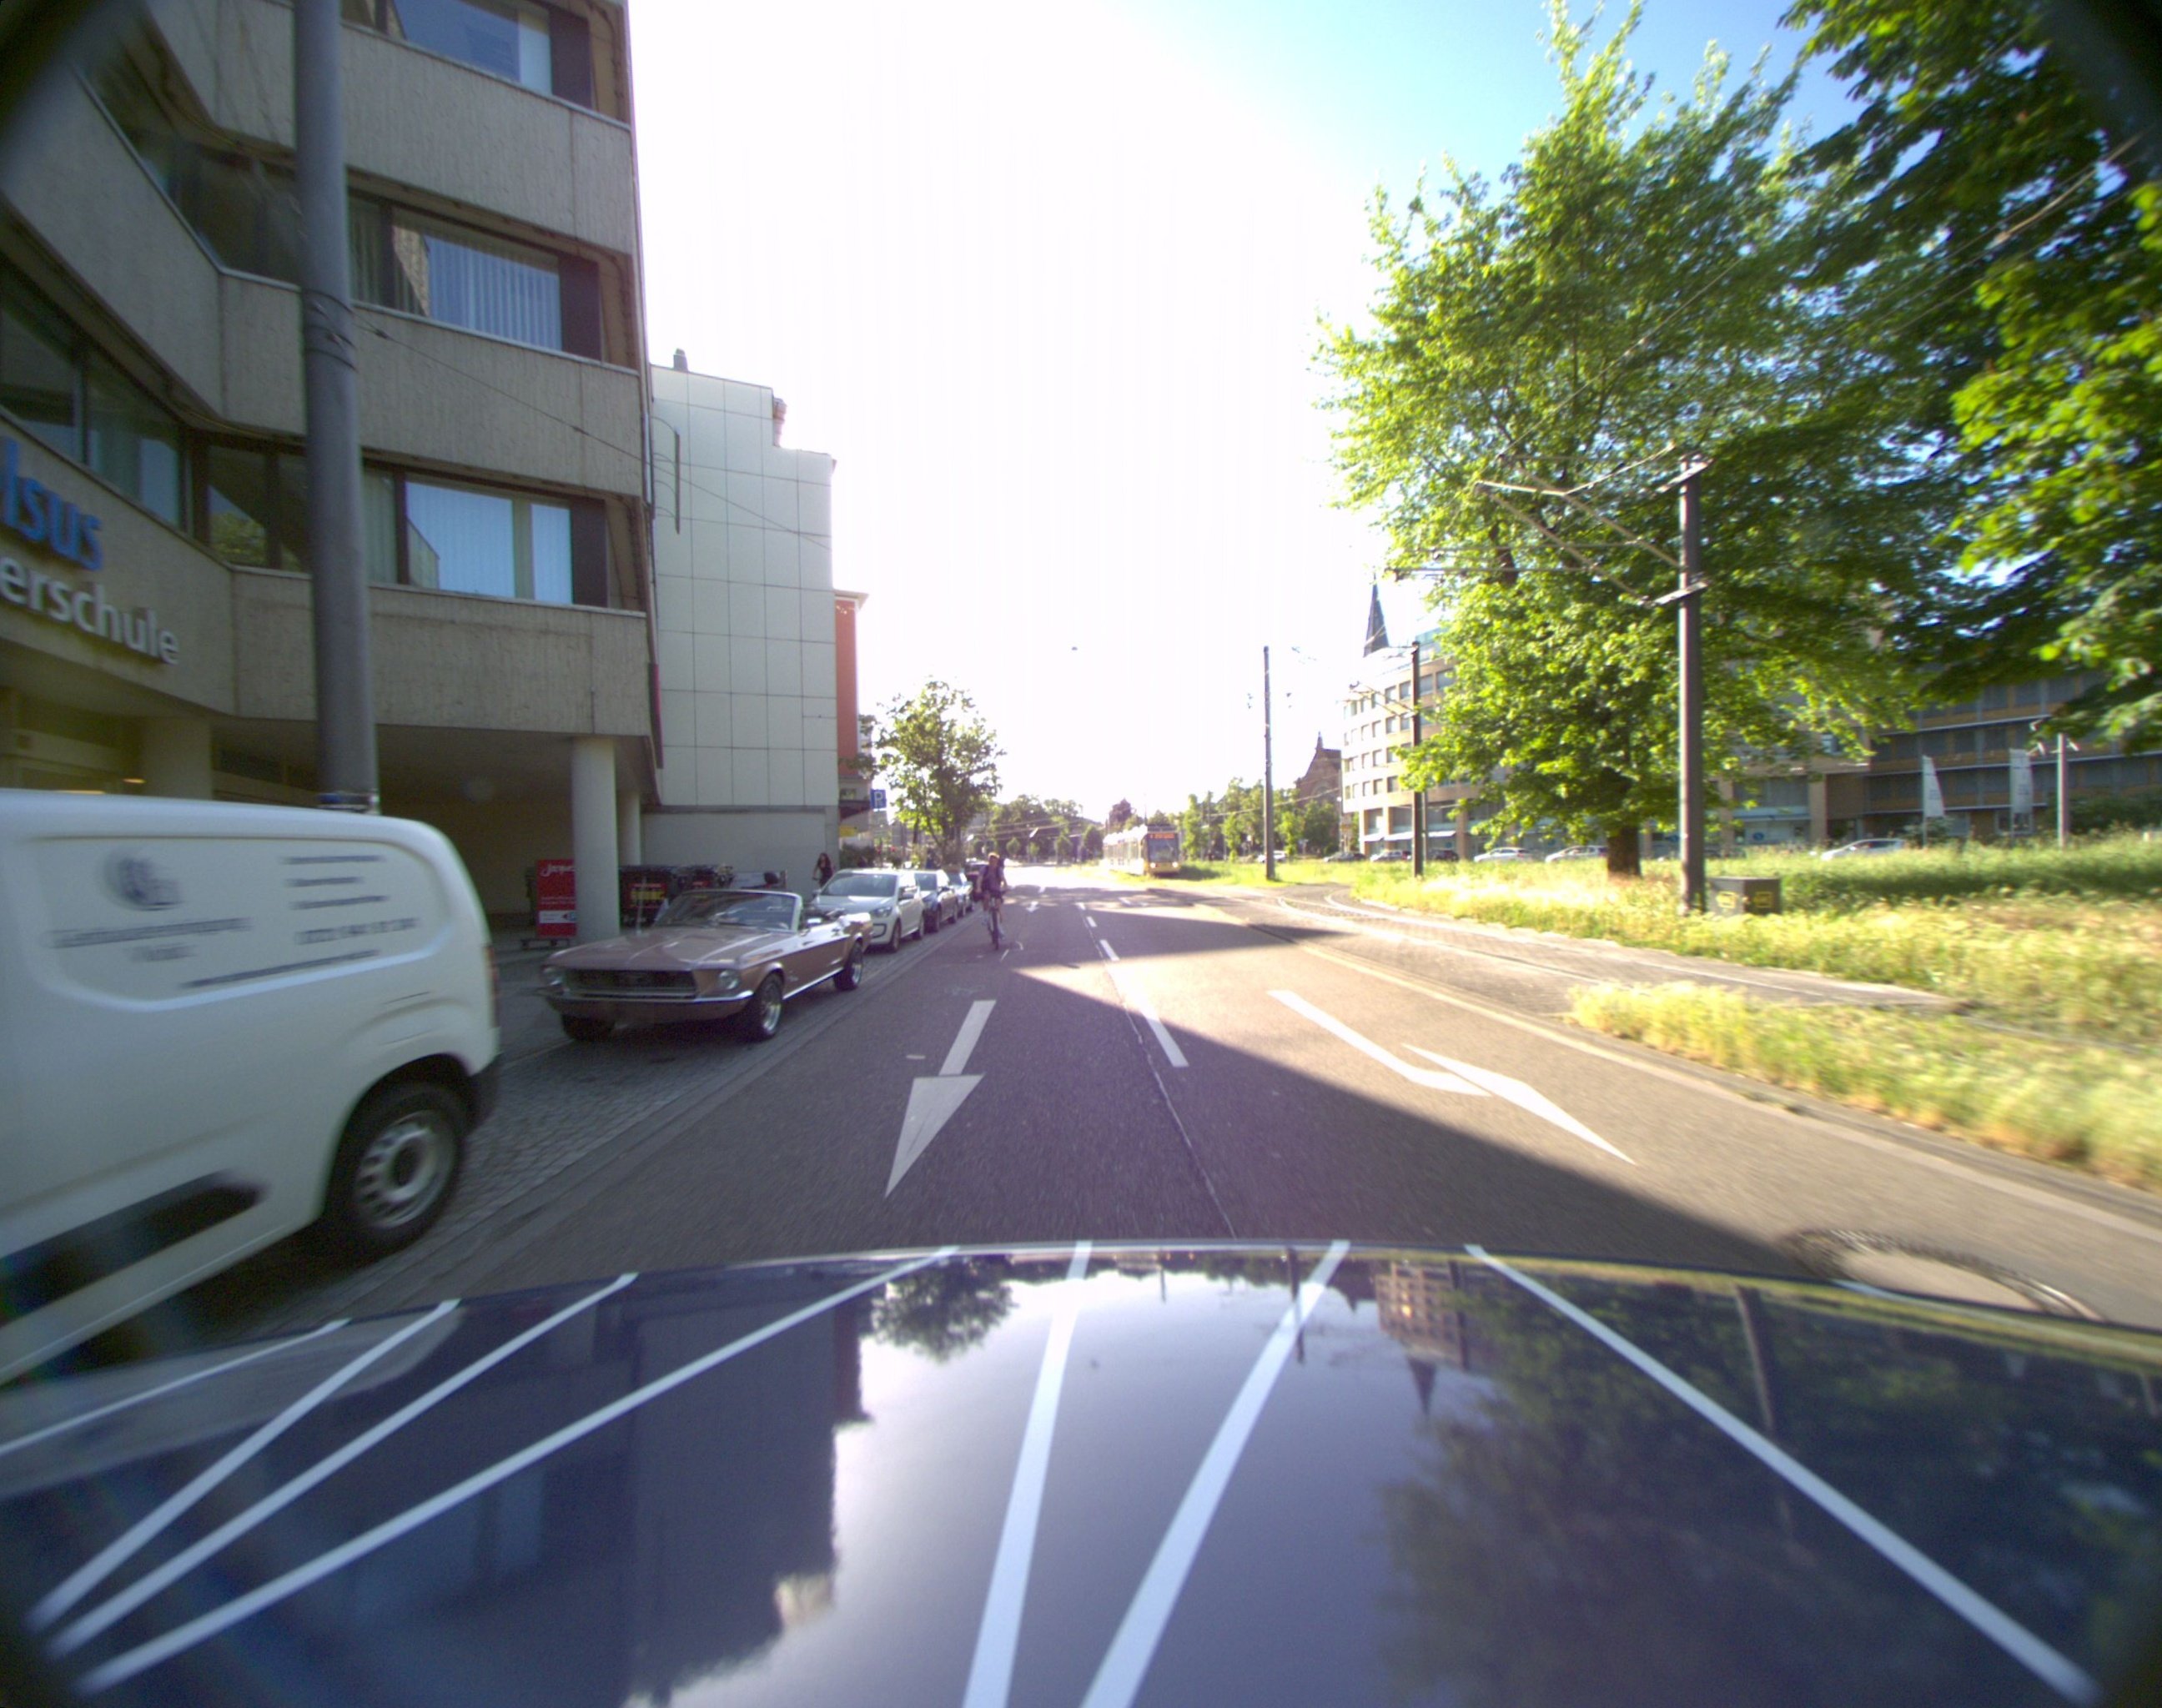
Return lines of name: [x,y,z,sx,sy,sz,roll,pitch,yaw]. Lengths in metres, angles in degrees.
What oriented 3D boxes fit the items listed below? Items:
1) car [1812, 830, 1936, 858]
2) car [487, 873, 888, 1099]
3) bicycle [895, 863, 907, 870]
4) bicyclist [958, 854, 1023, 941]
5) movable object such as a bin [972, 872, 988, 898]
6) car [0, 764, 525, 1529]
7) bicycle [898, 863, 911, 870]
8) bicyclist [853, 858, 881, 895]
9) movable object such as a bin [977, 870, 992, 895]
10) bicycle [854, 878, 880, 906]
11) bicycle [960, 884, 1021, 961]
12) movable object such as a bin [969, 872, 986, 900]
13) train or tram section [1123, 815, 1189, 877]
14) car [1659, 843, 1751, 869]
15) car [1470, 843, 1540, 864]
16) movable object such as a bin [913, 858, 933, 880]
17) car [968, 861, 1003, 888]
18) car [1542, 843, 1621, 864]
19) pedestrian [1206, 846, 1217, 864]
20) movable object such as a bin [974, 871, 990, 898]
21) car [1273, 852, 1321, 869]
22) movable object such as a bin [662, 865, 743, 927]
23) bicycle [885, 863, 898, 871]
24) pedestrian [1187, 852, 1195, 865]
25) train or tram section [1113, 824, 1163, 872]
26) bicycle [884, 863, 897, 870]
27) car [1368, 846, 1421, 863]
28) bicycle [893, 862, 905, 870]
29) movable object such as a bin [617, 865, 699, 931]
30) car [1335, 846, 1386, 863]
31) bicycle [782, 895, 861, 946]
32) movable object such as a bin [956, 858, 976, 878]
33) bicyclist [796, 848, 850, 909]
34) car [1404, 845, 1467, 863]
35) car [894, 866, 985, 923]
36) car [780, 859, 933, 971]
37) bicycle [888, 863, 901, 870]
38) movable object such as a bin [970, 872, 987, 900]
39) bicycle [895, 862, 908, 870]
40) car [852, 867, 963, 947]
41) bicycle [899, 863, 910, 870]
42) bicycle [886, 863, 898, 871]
car: [46.353,-0.567,44.494,2.003,1.346,4.756,-3,0,-36]
car: [-3.633,1.084,8.229,1.779,1.445,4.729,-3,1,0]
bicycle: [-26.023,1.830,109.840,1.550,0.960,0.386,-4,2,-26]
bicyclist: [-1.653,0.780,14.092,1.040,1.475,0.988,-3,2,-2]
movable object such as a bin: [-4.218,1.294,31.781,0.606,1.063,0.545,-3,2,-5]
car: [-3.560,0.741,1.334,1.999,1.802,4.307,-3,1,-2]
bicycle: [-25.243,1.792,108.474,1.707,1.005,0.410,0,0,-29]
bicyclist: [-8.035,0.830,28.549,0.760,1.319,0.993,-3,2,-6]
movable object such as a bin: [-4.358,1.290,34.306,0.575,1.076,0.570,-3,2,-5]
bicycle: [-8.030,1.414,28.622,0.536,0.886,2.068,-3,1,-5]
bicycle: [-1.619,1.204,13.985,0.888,1.129,2.228,-3,1,-2]
movable object such as a bin: [-4.170,1.287,30.620,0.594,1.077,0.604,-3,2,-5]
train or tram section: [4.925,-0.491,52.713,2.957,3.663,13.182,-2,0,-1]
car: [41.352,0.107,50.474,2.003,1.505,4.270,-3,4,-31]
car: [34.912,-0.011,62.654,2.002,1.587,4.646,-4,2,-28]
movable object such as a bin: [-12.346,1.162,59.307,1.261,1.699,0.943,-2,1,-27]
car: [-5.481,1.145,44.228,1.770,1.430,4.581,-1,0,-4]
car: [37.626,-0.028,57.203,2.003,1.419,4.500,-4,2,-31]
pedestrian: [12.322,0.131,71.926,0.736,1.661,0.743,-2,1,-18]
movable object such as a bin: [-4.216,1.296,32.463,0.608,1.063,0.613,-3,2,-6]
car: [23.781,0.758,83.767,2.109,1.724,5.075,-2,0,-28]
movable object such as a bin: [-9.456,1.033,19.023,1.339,1.390,1.121,-3,2,6]
bicycle: [-28.699,1.942,115.111,1.826,1.054,0.414,-2,1,-31]
pedestrian: [17.487,0.772,121.028,0.880,2.002,0.923,-4,2,-25]
train or tram section: [4.675,-0.451,65.746,2.957,3.591,13.633,-2,0,-1]
bicycle: [-28.951,1.917,115.453,1.826,1.054,0.414,-1,1,-30]
car: [33.827,0.077,82.124,2.127,1.659,5.199,-4,1,-27]
bicycle: [-26.529,1.782,110.699,1.646,1.105,0.529,1,0,-29]
movable object such as a bin: [-9.927,1.025,17.871,1.303,1.425,0.959,-3,2,6]
car: [27.837,0.057,75.853,2.002,1.508,4.652,-4,2,-28]
bicycle: [-7.201,1.819,21.193,0.820,1.178,1.967,-2,2,29]
movable object such as a bin: [-8.284,1.003,54.775,1.284,1.383,0.921,-3,2,-8]
bicyclist: [-7.214,0.688,21.248,0.940,1.624,0.937,-2,2,30]
car: [31.932,0.010,68.551,2.002,1.439,5.009,-3,1,-24]
car: [-4.233,1.172,23.495,1.856,1.336,4.598,-3,1,0]
car: [-4.131,1.032,14.673,1.856,1.679,3.865,-3,1,-2]
bicycle: [-27.793,1.863,113.458,1.827,1.063,0.414,-1,2,-31]
movable object such as a bin: [-4.212,1.301,31.213,0.612,1.099,0.525,-3,2,-5]
bicycle: [-25.861,1.770,109.438,1.758,1.093,0.398,-1,1,-28]
car: [-4.103,1.192,18.651,1.675,1.510,4.198,-3,1,0]
bicycle: [-24.977,1.783,107.416,1.435,1.005,0.410,0,1,-25]
bicycle: [-28.536,1.929,114.728,1.785,1.222,0.414,-2,1,-31]
